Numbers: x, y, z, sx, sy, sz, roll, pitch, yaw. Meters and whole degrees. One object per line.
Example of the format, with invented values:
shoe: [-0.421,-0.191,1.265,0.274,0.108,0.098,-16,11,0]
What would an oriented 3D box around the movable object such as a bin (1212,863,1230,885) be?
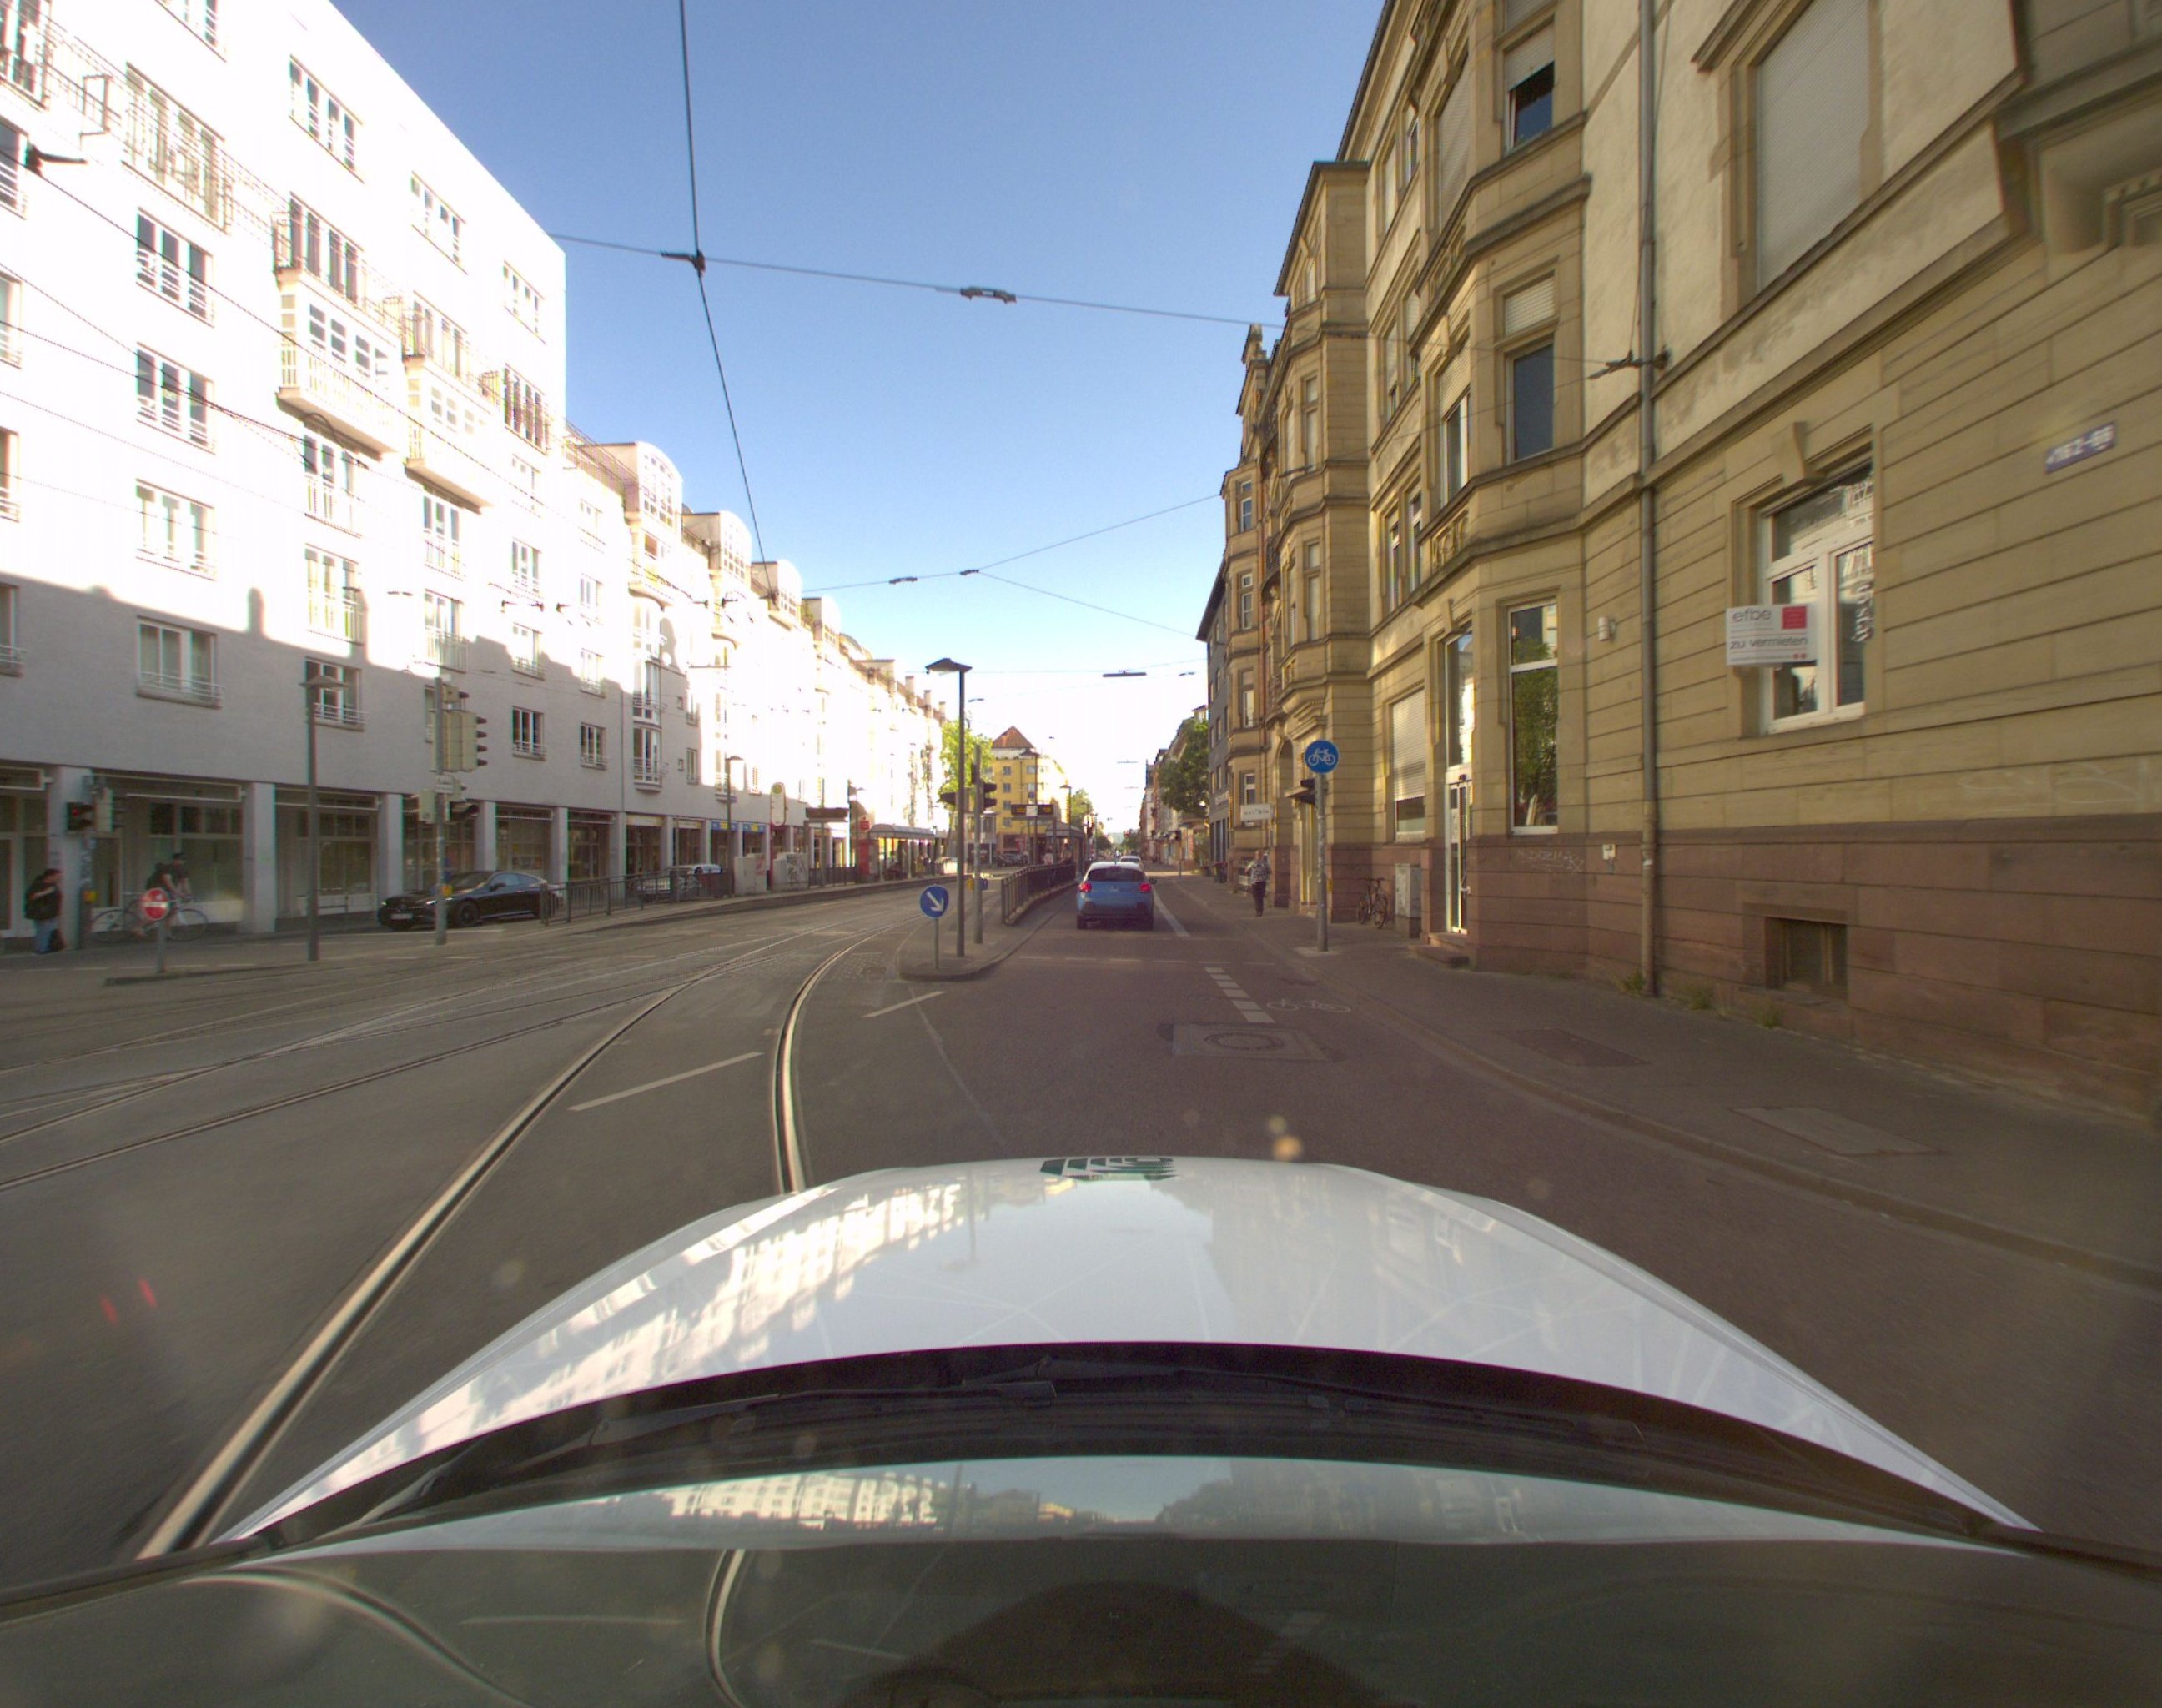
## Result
movable object such as a bin: [7.153,1.023,41.541,0.745,1.036,0.754,-5,-2,3]

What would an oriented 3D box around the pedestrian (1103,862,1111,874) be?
pedestrian: [3.434,1.913,109.671,0.842,1.654,0.691,0,-2,-25]

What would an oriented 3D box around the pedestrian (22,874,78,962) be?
pedestrian: [-18.647,1.136,14.739,0.444,1.534,0.676,0,-1,-34]

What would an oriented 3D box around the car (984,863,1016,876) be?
car: [-10.657,2.007,106.752,3.974,1.675,1.957,-1,-2,-1]

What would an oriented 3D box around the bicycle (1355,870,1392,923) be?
bicycle: [6.125,0.896,17.119,0.254,1.052,1.770,0,-3,3]

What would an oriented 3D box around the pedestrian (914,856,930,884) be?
pedestrian: [-9.180,0.924,46.984,0.728,1.559,0.743,-1,-1,2]

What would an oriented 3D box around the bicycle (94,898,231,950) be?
bicycle: [-19.014,1.426,16.899,0.669,0.980,1.772,-2,-2,31]

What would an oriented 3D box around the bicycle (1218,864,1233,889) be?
bicycle: [6.856,1.064,38.724,0.457,1.123,1.774,-2,-2,4]

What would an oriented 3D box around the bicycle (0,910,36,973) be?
bicycle: [-17.141,1.350,12.068,0.592,0.972,2.047,-1,-3,1]

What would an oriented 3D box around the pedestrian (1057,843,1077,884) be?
pedestrian: [-0.586,0.419,34.805,0.632,1.698,0.936,0,-3,10]

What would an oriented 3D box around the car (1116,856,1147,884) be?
car: [3.425,1.119,55.291,1.985,1.743,4.003,0,-3,3]

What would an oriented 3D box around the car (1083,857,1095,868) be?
car: [1.331,1.368,134.793,1.746,1.615,4.828,-3,-2,1]

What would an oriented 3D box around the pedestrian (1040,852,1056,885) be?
pedestrian: [-1.609,0.716,39.374,0.579,1.562,0.472,-3,-2,39]

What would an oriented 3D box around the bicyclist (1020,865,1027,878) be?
bicyclist: [-7.088,2.161,100.348,0.669,1.557,0.778,-1,-2,4]

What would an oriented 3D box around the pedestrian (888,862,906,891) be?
pedestrian: [-9.698,1.188,42.895,0.728,1.528,0.743,-1,-1,2]

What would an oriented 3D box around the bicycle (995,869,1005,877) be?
bicycle: [-9.790,2.318,98.407,0.676,1.002,2.689,-1,-2,4]

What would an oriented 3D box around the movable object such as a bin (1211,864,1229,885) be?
movable object such as a bin: [7.211,1.051,42.302,0.745,1.036,0.754,-5,-2,3]

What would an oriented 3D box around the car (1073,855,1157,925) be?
car: [0.833,0.809,19.025,1.773,1.451,3.657,0,-2,3]

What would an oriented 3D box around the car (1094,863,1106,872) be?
car: [3.591,2.501,151.876,1.941,1.486,4.006,-2,-2,6]

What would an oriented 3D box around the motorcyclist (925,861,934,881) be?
motorcyclist: [-11.581,1.325,62.209,0.484,1.503,0.723,0,-3,4]

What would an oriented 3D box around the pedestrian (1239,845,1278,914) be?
pedestrian: [4.650,0.654,21.342,0.777,1.750,1.093,-1,0,0]

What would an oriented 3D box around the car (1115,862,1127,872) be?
car: [7.139,2.314,144.566,1.985,1.743,4.003,0,-3,3]

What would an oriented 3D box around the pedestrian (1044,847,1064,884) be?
pedestrian: [-1.329,0.561,39.843,0.710,1.778,0.568,-3,-2,39]

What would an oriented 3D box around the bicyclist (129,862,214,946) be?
bicyclist: [-18.994,1.022,17.018,0.715,1.696,1.035,-2,-3,31]

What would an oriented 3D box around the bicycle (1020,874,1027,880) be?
bicycle: [-7.099,2.853,100.258,0.563,0.757,1.939,-1,-2,4]

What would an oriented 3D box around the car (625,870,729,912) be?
car: [-15.643,1.426,31.826,1.722,1.515,4.406,-1,-2,2]

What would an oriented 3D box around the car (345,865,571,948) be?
car: [-16.039,1.306,21.389,2.218,1.911,4.611,-1,-2,2]
